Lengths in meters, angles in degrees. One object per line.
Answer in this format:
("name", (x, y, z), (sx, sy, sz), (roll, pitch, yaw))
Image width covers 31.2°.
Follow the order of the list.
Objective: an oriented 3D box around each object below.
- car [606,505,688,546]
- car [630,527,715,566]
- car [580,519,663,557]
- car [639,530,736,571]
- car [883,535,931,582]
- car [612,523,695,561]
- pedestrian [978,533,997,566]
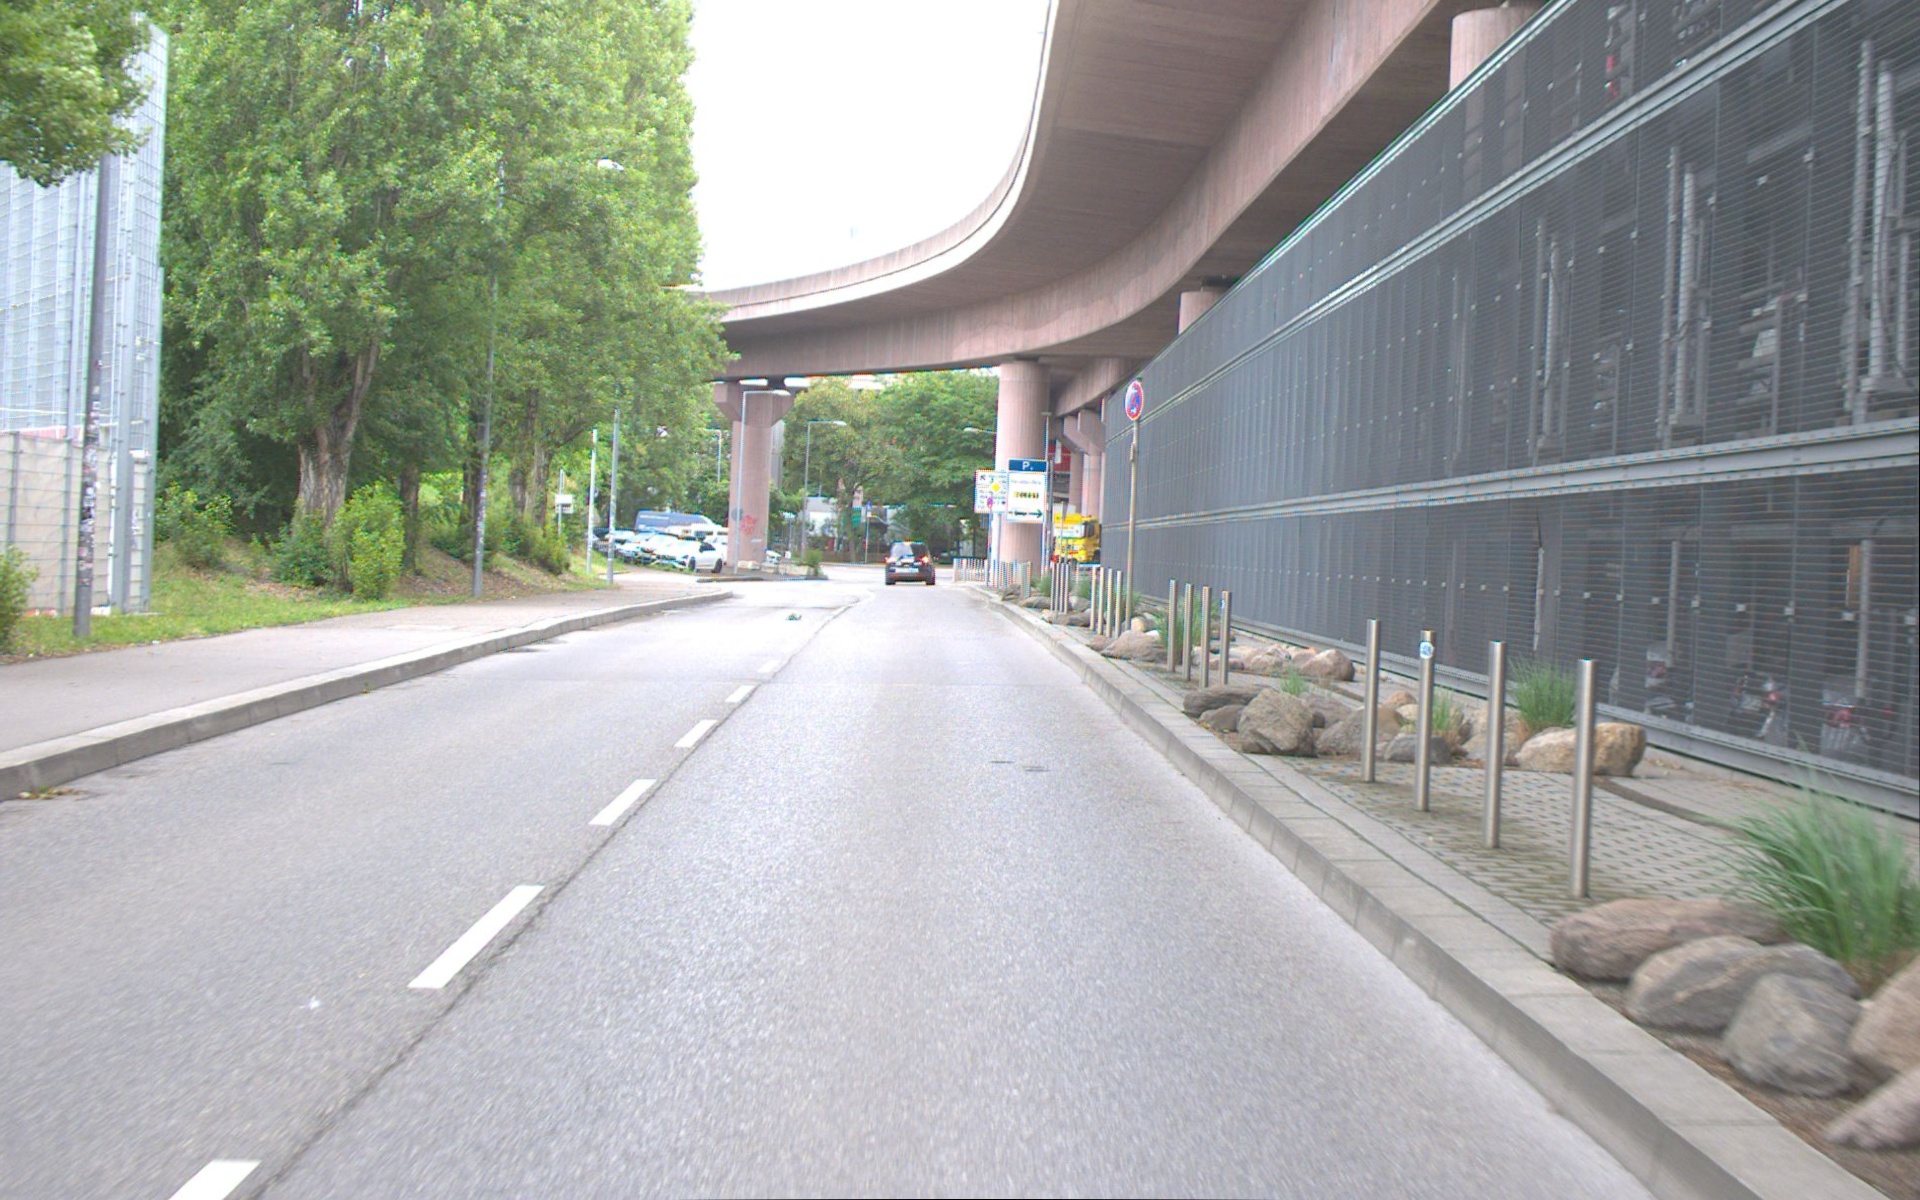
("car", (-16.856, -4.026, 185.451), (4.213, 2.007, 2.000), (3, 1, -2))
("car", (-13.115, -2.442, 157.027), (1.724, 1.711, 3.664), (4, 3, 41))
("car", (-16.129, -2.966, 164.057), (1.806, 1.711, 3.664), (4, 3, 41))
("car", (-12.126, -2.212, 153.105), (1.884, 1.711, 4.143), (4, 3, 41))
("car", (-2.123, -1.674, 138.559), (1.839, 1.705, 3.706), (2, 3, 0))
("car", (-14.348, -2.708, 160.951), (1.724, 1.711, 3.664), (4, 3, 41))
("pedestrian", (1.619, -2.966, 202.862), (0.769, 1.870, 0.824), (1, 3, -31))
